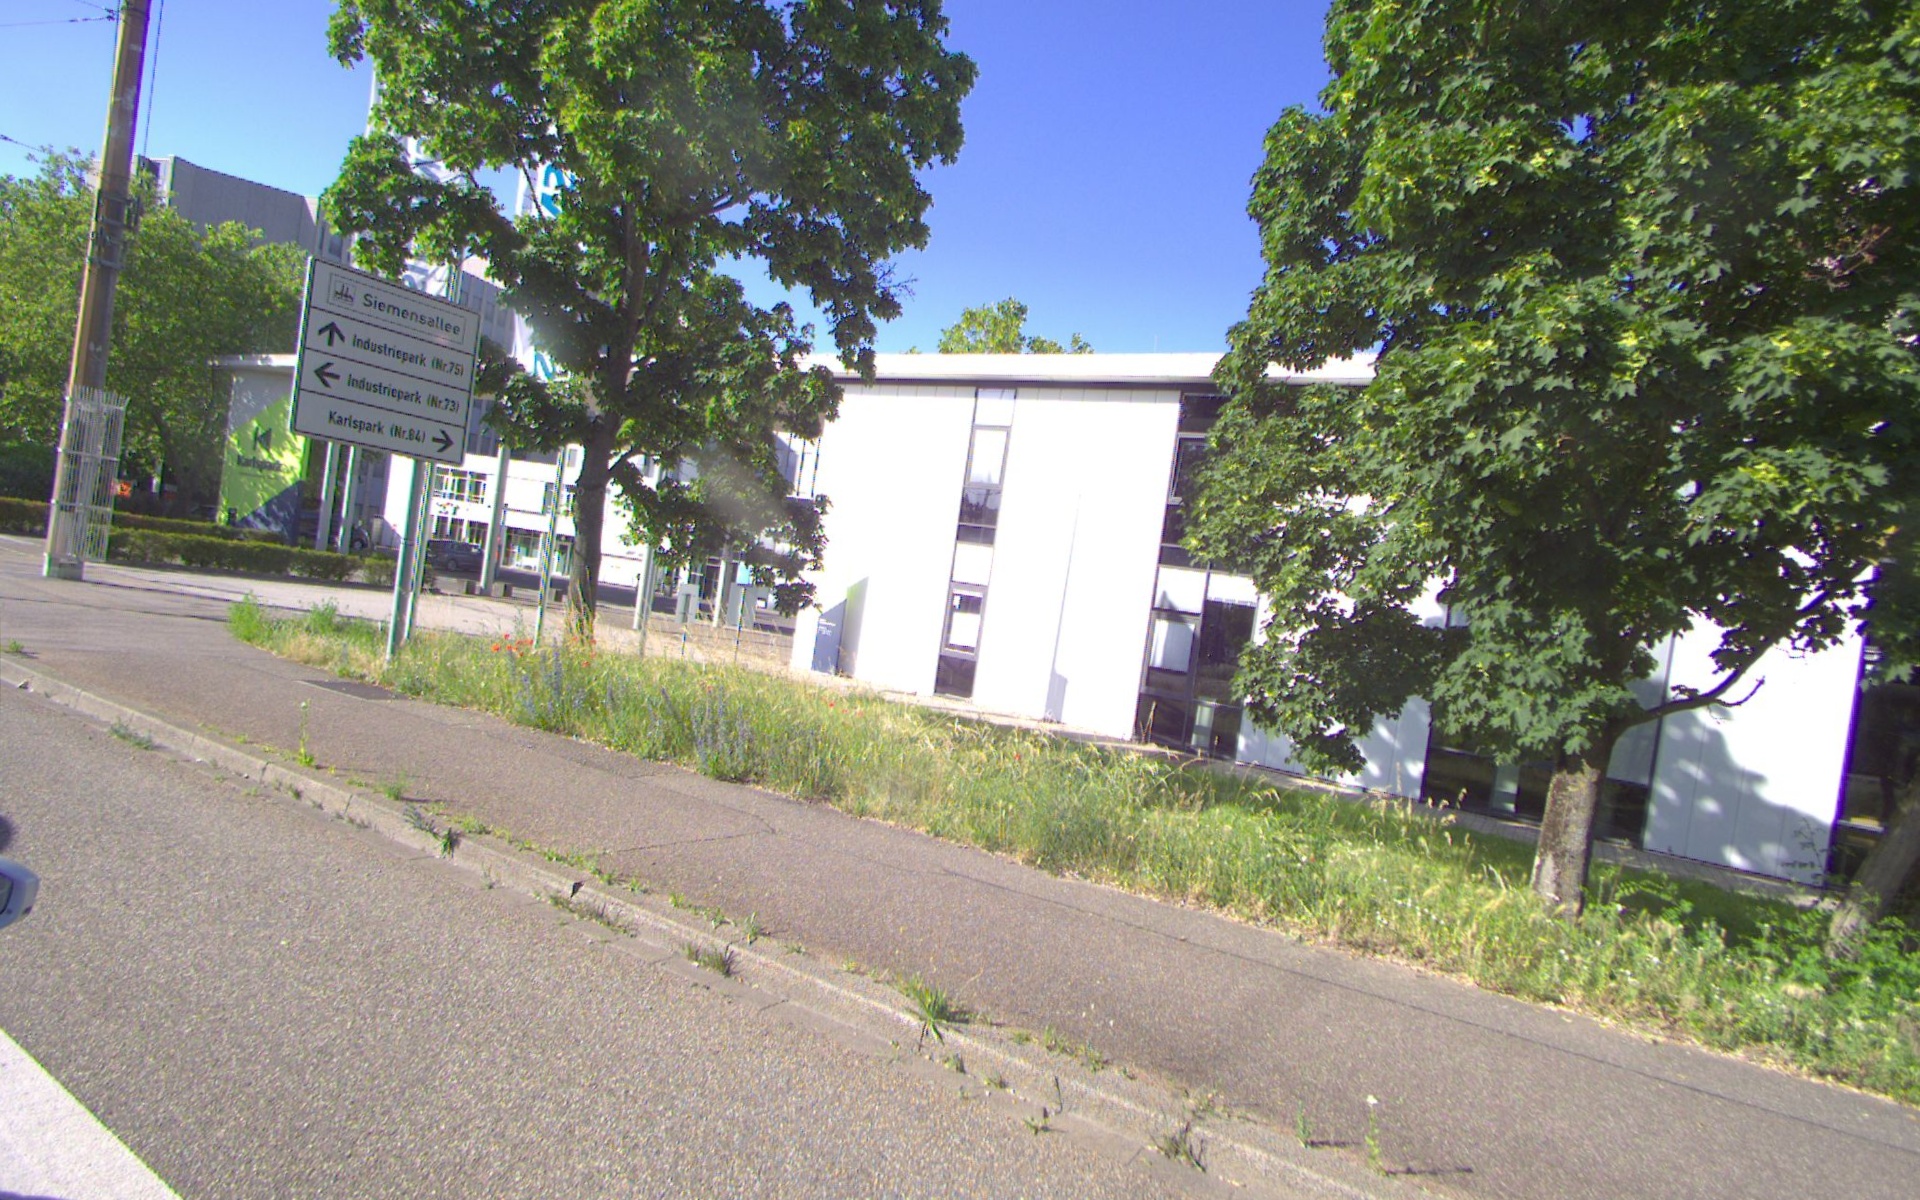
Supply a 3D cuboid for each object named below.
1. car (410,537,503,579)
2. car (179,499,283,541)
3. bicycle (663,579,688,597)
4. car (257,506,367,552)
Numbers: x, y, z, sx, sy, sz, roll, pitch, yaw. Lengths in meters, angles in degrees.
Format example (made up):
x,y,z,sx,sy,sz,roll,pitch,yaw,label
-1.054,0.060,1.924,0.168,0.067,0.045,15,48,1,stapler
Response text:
x,y,z,sx,sy,sz,roll,pitch,yaw,label
-26.679,-2.215,53.451,1.918,1.597,4.000,8,-1,23,car
-42.656,-4.645,58.967,1.861,1.706,4.468,8,-1,26,car
-20.260,-0.871,71.669,1.591,1.016,0.566,8,0,17,bicycle
-36.281,-3.959,56.508,2.052,1.778,4.900,8,-1,17,car
